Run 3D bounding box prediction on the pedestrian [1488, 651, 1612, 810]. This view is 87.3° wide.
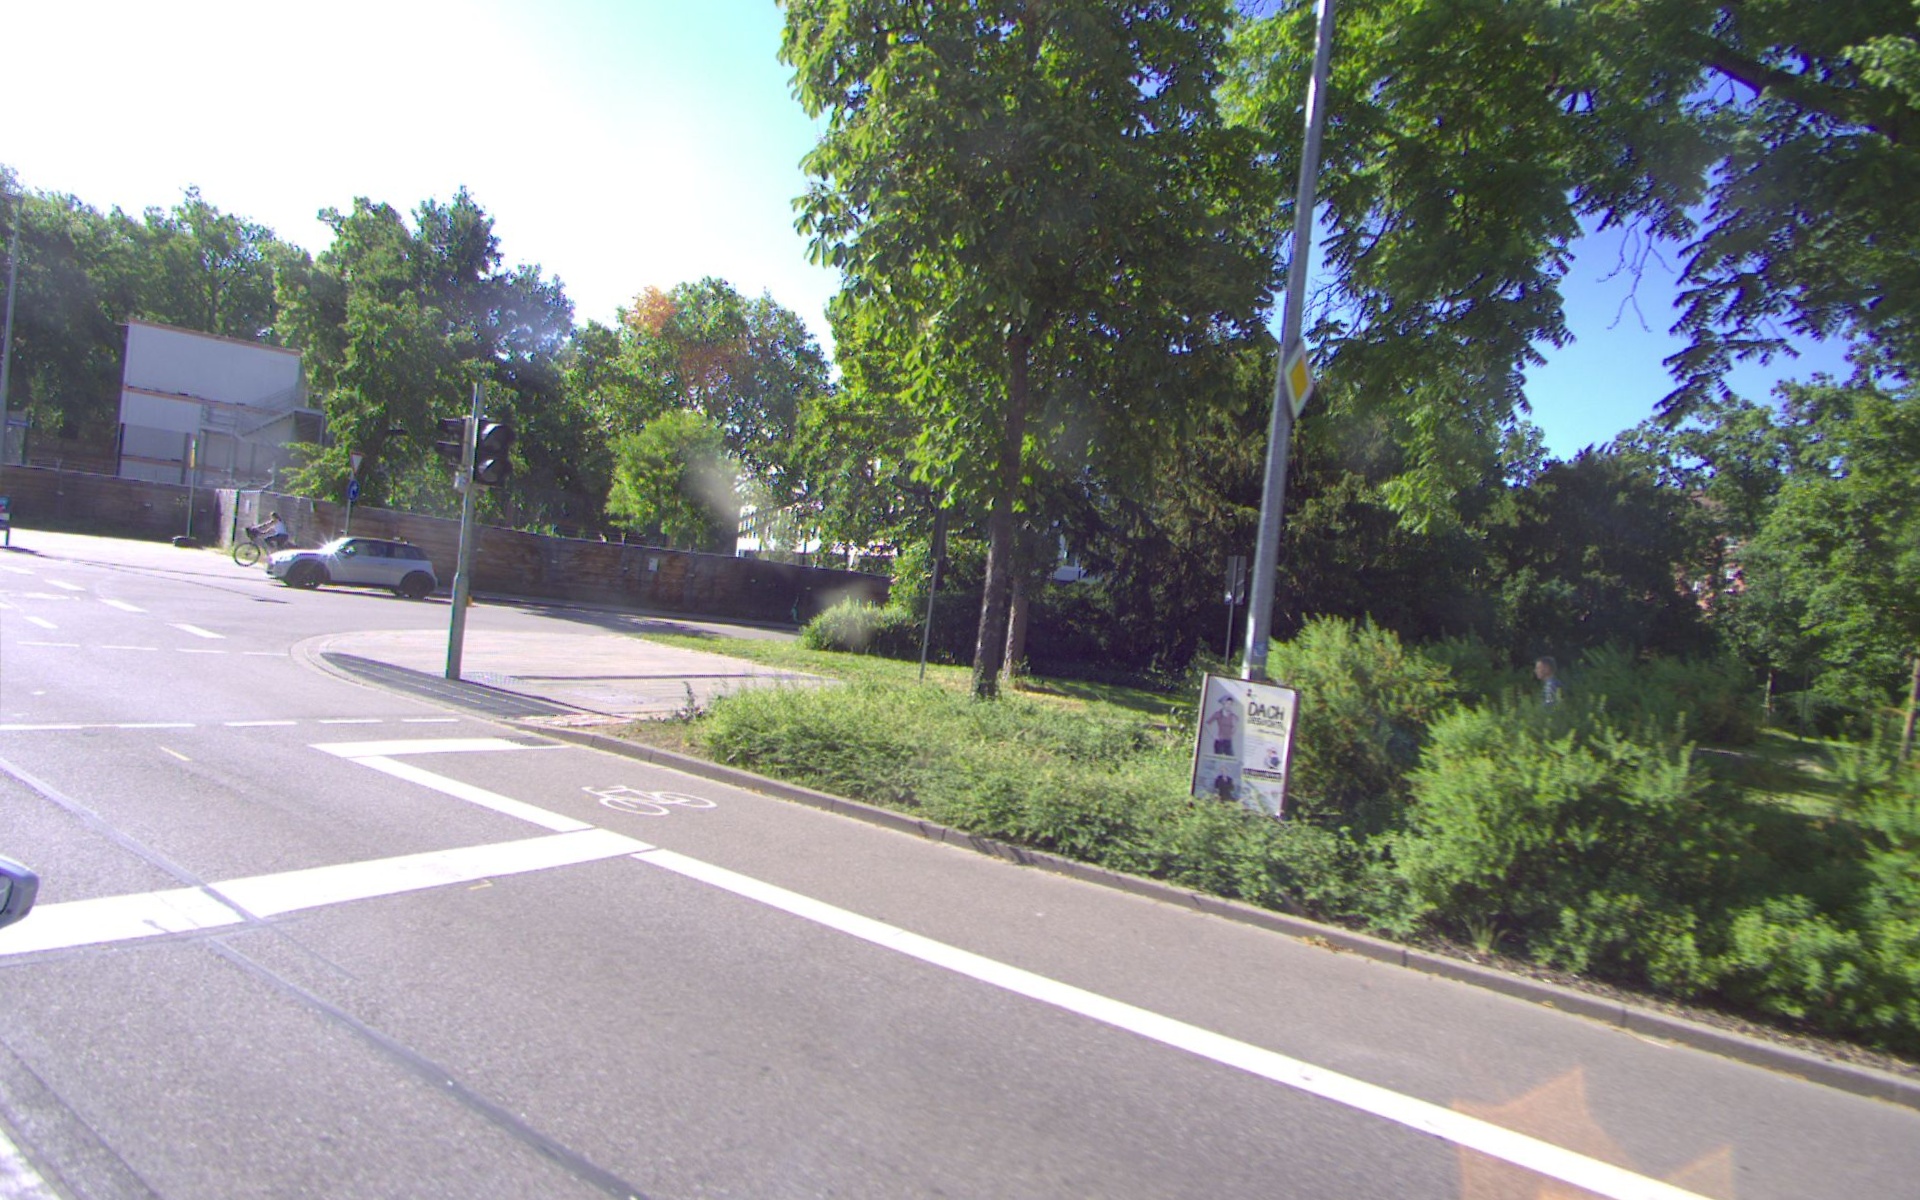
[{"bbox_3d":[7.054,1.537,12.072,0.859,1.723,0.738,7,0,2],"label":"pedestrian"}]

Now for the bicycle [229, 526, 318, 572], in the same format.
[{"bbox_3d":[-20.190,-1.504,29.634,2.103,1.127,0.598,5,2,-35],"label":"bicycle"}]

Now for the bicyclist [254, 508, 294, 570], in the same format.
[{"bbox_3d":[-20.155,-1.789,29.570,0.844,1.695,0.736,5,2,-35],"label":"bicyclist"}]

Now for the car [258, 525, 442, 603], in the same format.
[{"bbox_3d":[-15.639,-0.903,25.876,3.688,1.453,1.751,8,-1,-43],"label":"car"}]

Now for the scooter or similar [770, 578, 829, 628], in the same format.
[{"bbox_3d":[-6.256,0.135,39.219,2.056,1.704,0.571,7,0,-33],"label":"scooter or similar"}]
